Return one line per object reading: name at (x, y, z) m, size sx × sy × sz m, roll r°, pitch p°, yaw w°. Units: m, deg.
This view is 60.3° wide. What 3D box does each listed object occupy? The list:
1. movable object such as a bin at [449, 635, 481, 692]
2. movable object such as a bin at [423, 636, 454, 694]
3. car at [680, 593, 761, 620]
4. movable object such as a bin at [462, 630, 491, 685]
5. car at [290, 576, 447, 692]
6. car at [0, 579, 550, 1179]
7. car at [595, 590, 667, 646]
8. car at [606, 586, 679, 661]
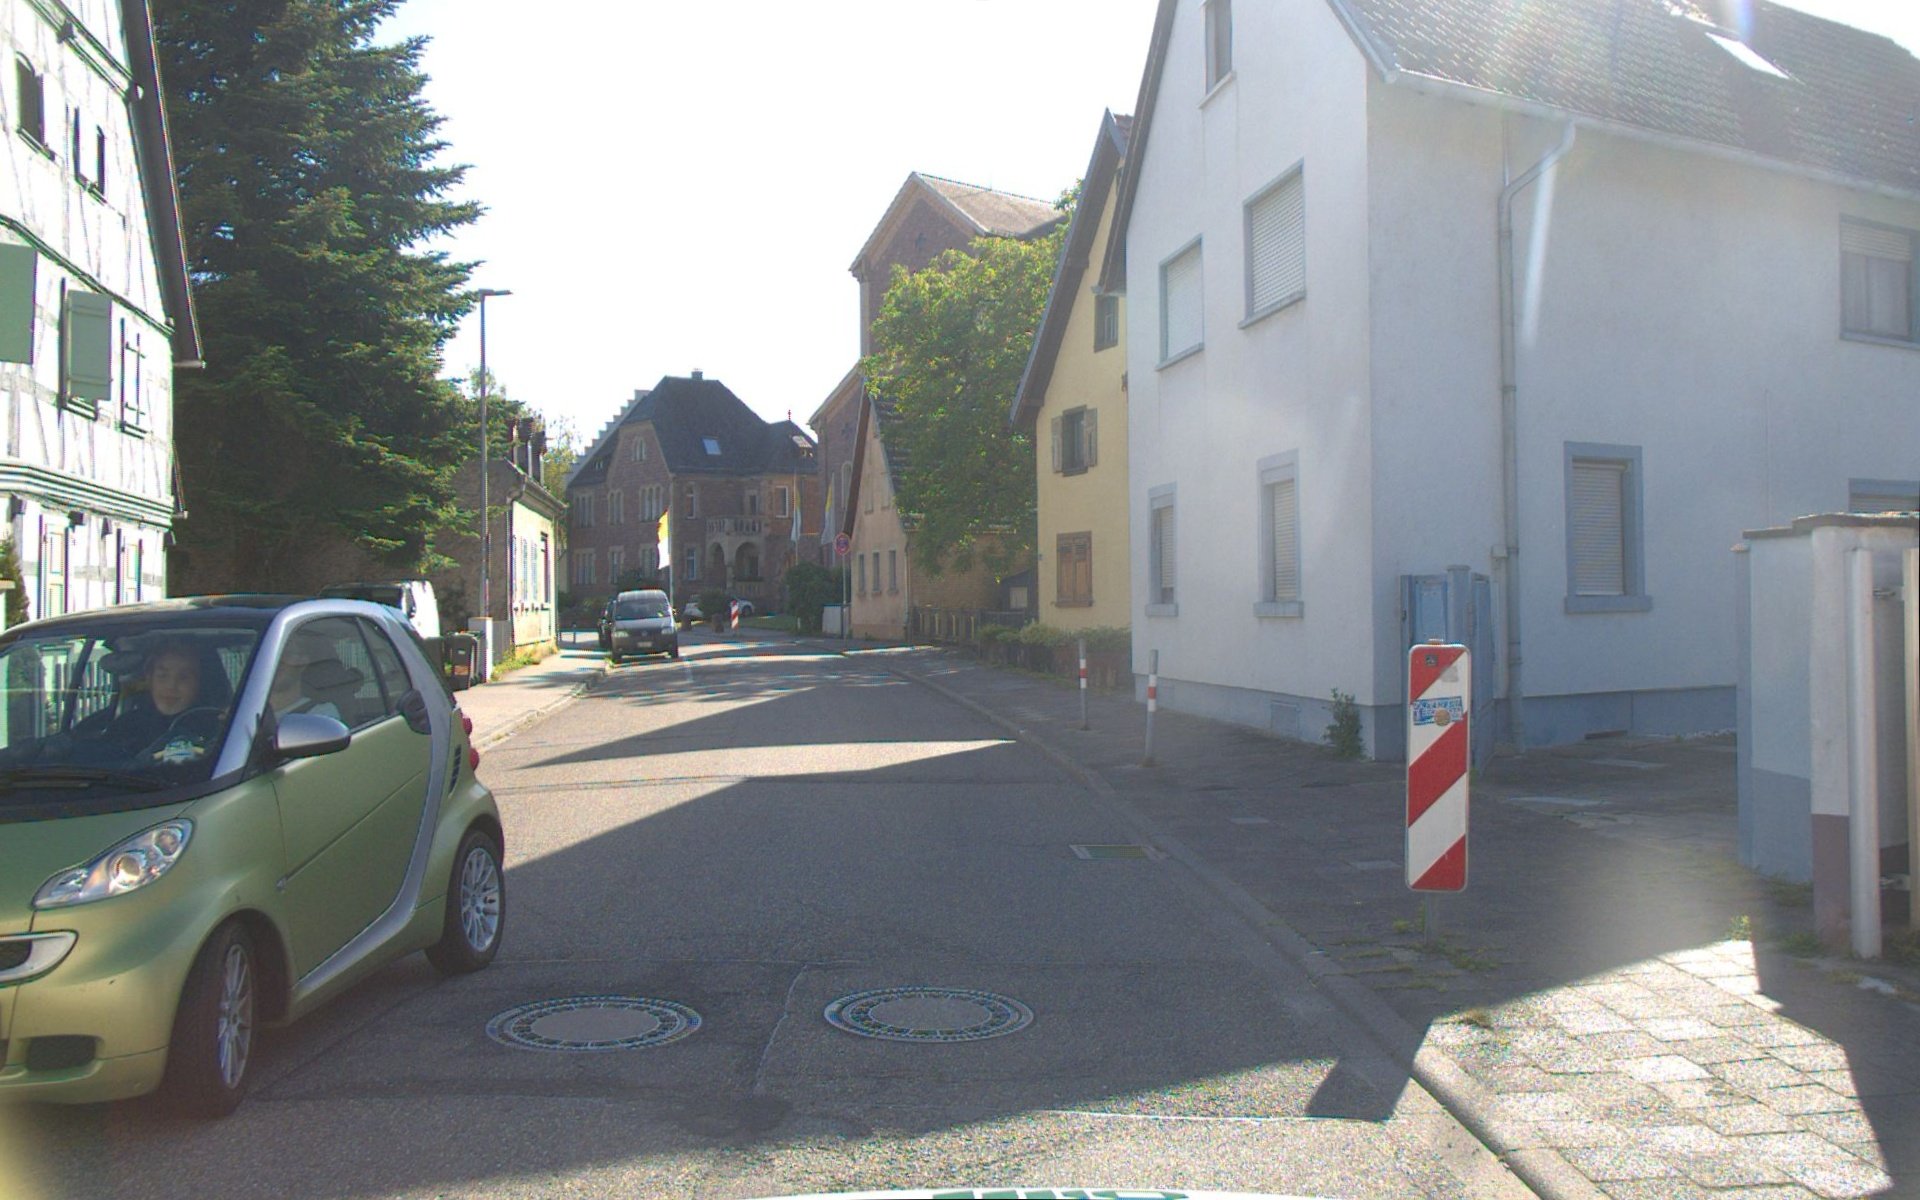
movable object such as a bin at (-8.506, 1.084, 28.416) m, size 0.431 × 0.940 × 0.490 m, roll -2°, pitch 2°, yaw -9°
movable object such as a bin at (-8.939, 1.110, 28.355) m, size 0.412 × 0.940 × 0.490 m, roll -2°, pitch 2°, yaw -9°
car at (-13.358, 0.366, 92.377) m, size 4.211 × 1.425 × 1.692 m, roll -1°, pitch 0°, yaw -42°
movable object such as a bin at (-8.669, 1.020, 29.679) m, size 0.412 × 0.940 × 0.490 m, roll -2°, pitch 2°, yaw -9°
car at (-11.071, 0.565, 31.303) m, size 1.905 × 1.989 × 5.130 m, roll -1°, pitch 1°, yaw -10°
car at (-2.745, 0.753, 5.901) m, size 1.541 × 1.573 × 2.967 m, roll -2°, pitch 0°, yaw 5°
car at (-11.261, 0.596, 56.407) m, size 1.799 × 1.763 × 4.178 m, roll -3°, pitch 0°, yaw -19°
car at (-8.676, 0.619, 45.105) m, size 1.794 × 1.845 × 4.190 m, roll -3°, pitch 0°, yaw -12°
